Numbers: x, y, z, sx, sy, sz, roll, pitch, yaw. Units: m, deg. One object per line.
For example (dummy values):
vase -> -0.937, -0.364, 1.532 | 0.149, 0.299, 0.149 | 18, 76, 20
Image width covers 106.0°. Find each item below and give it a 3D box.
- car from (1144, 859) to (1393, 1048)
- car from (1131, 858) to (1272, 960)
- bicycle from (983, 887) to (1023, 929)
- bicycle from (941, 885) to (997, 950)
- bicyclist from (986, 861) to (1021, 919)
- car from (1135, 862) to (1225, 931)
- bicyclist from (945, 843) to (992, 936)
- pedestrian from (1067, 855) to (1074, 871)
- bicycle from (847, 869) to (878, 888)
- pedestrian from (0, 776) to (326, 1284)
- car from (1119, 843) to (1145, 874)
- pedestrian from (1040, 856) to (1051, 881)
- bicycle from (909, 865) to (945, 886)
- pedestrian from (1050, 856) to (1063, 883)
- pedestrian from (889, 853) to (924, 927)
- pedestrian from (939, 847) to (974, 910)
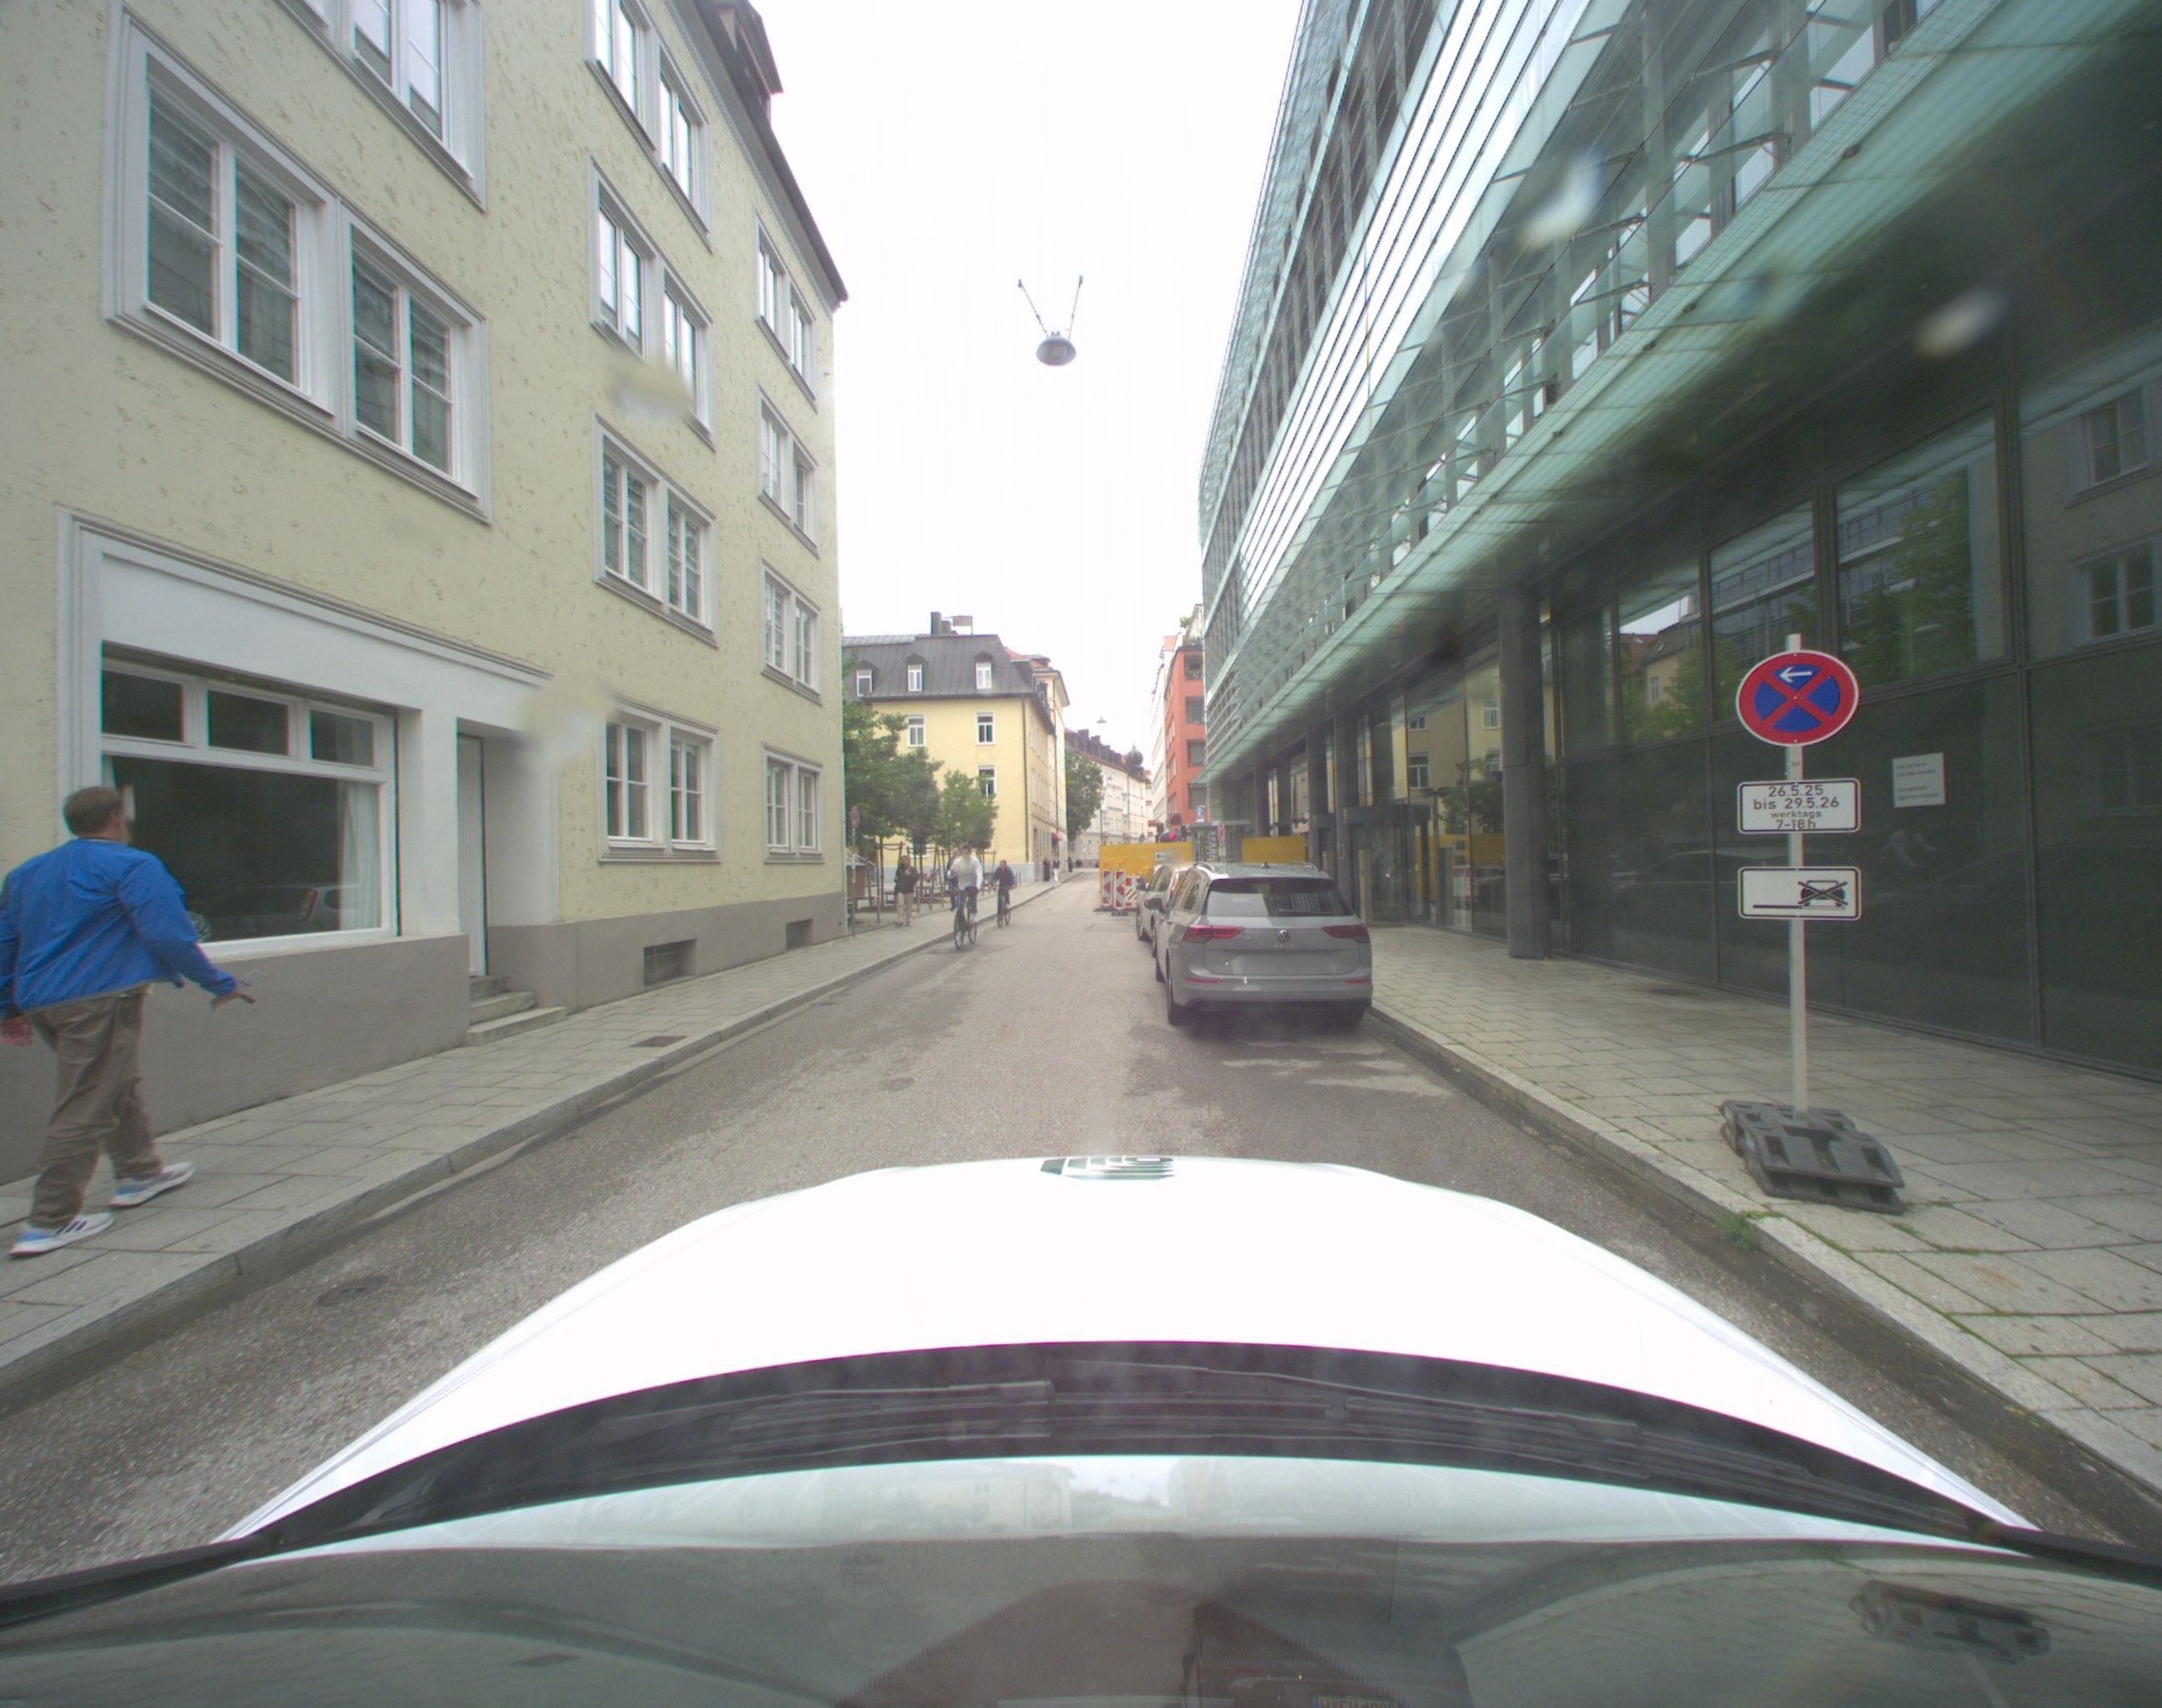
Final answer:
car -> 1.636, 0.798, 8.546 | 1.701, 1.432, 4.331 | -2, -1, 2
car -> 1.873, 0.817, 13.838 | 1.702, 1.467, 4.235 | 0, -1, -1
bicycle -> -1.880, 1.291, 19.914 | 0.705, 0.905, 1.810 | -2, -1, 2
bicycle -> -2.032, 1.133, 15.017 | 0.659, 1.039, 2.005 | -2, -1, 2
bicyclist -> -1.892, 0.859, 19.887 | 0.705, 1.371, 0.813 | -2, -1, 2
car -> 2.182, 0.902, 18.993 | 1.701, 1.414, 4.511 | 0, -1, 2
bicyclist -> -2.050, 0.635, 14.914 | 0.657, 1.643, 0.895 | -2, -1, 2
pedestrian -> -1.059, 0.918, 83.996 | 0.632, 1.675, 0.518 | -1, -1, 2
bicycle -> -12.897, 1.440, 48.184 | 1.647, 1.069, 0.599 | -1, -1, 6
pedestrian -> -4.175, 0.648, 3.532 | 0.754, 1.854, 1.077 | 0, -1, 2
car -> 4.416, 0.396, 71.109 | 1.986, 2.537, 4.976 | -1, 0, 2
pedestrian -> -2.325, 0.950, 53.807 | 0.668, 1.648, 0.762 | -1, -1, 1
bicycle -> -9.156, 1.284, 48.356 | 2.031, 1.198, 0.571 | -1, -1, 9
pedestrian -> -1.604, 1.005, 53.375 | 0.836, 1.700, 0.803 | -1, -1, 1
pedestrian -> -4.088, 0.829, 19.095 | 0.645, 1.676, 0.724 | -1, -1, 1
pedestrian -> -3.841, 0.753, 25.172 | 0.864, 1.881, 1.135 | -1, -1, 1
